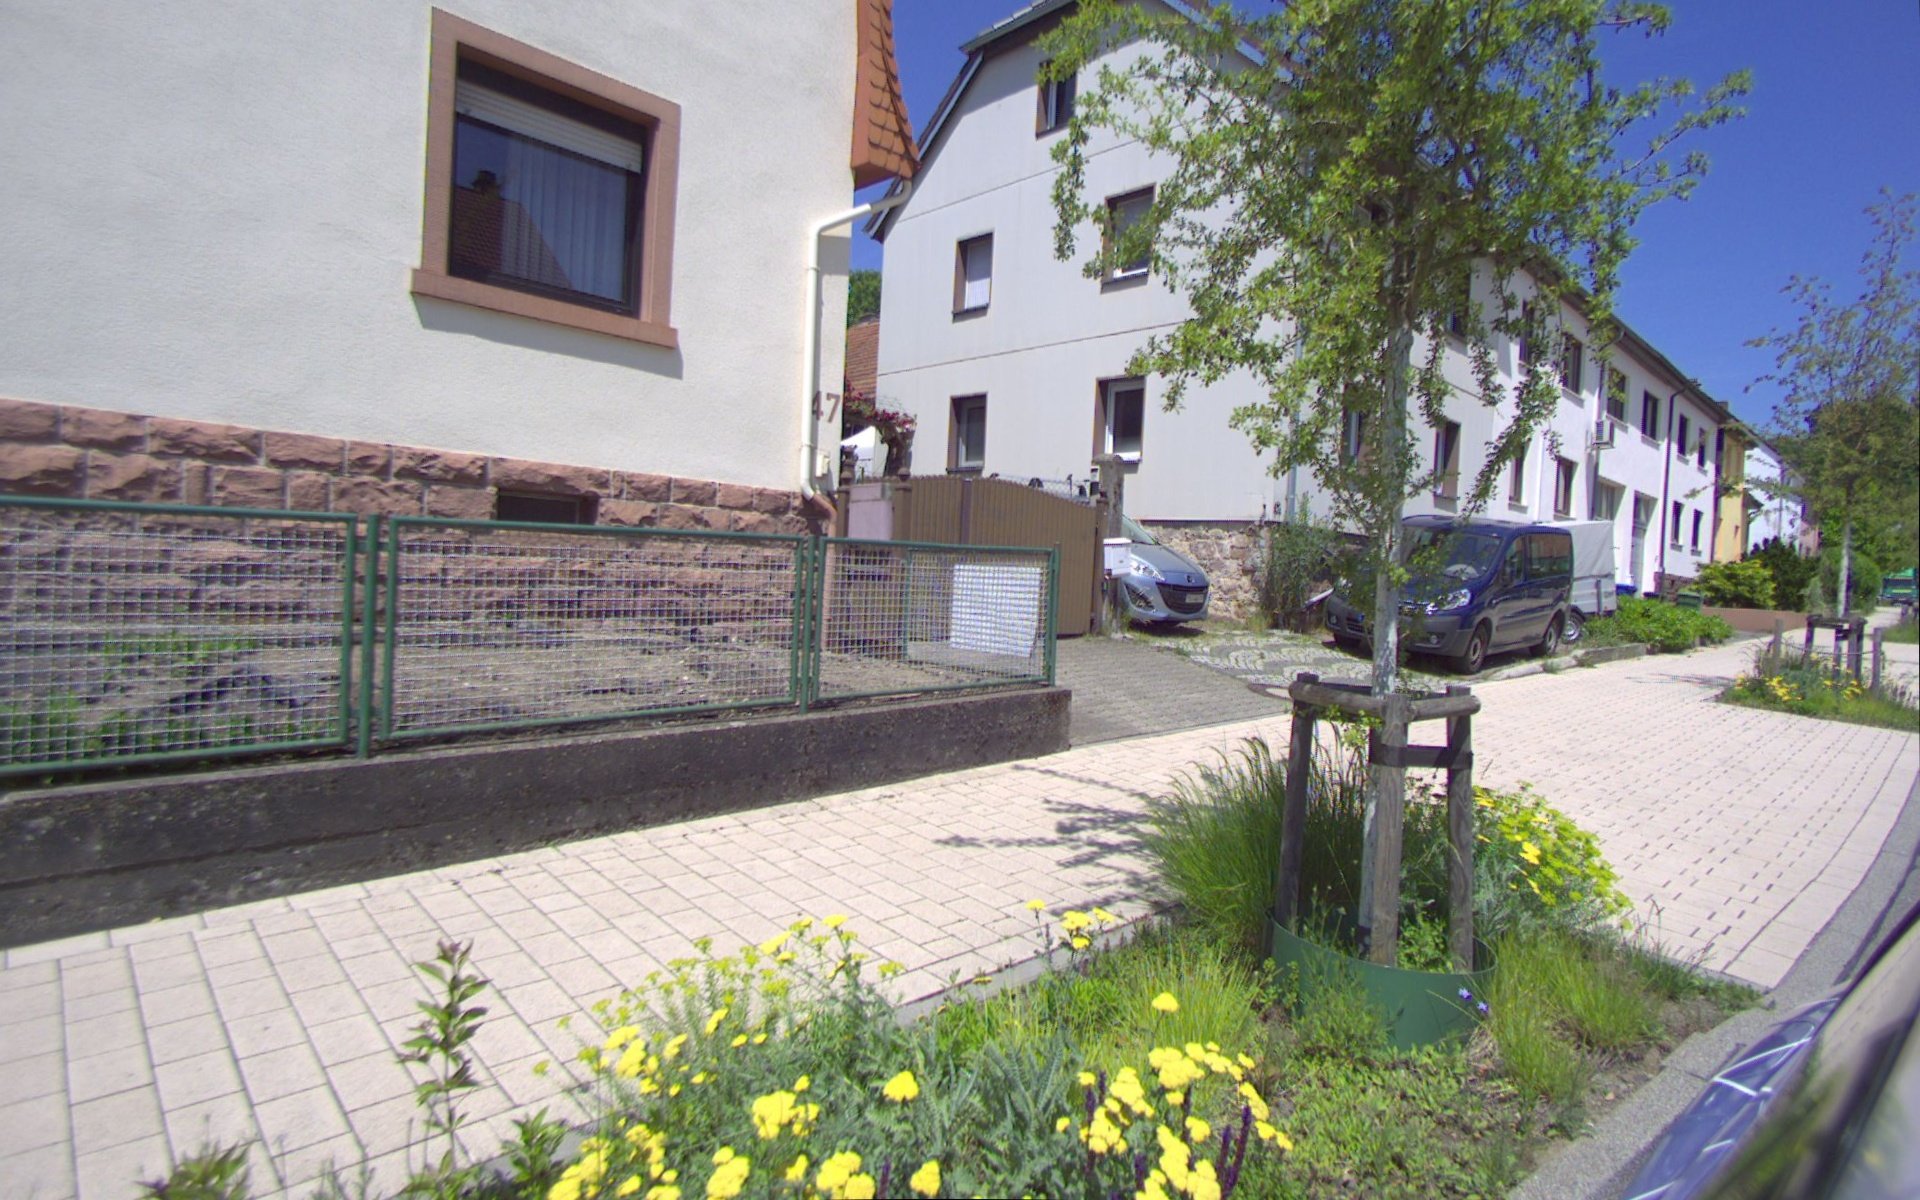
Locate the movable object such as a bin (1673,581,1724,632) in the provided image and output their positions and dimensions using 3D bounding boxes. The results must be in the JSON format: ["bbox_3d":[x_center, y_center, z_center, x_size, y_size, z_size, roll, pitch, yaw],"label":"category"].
[{"bbox_3d":[17.251,0.141,23.629,0.797,1.128,0.686,-1,6,-38],"label":"movable object such as a bin"}]

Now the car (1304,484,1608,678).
[{"bbox_3d":[6.895,-0.307,13.837,4.693,1.990,1.859,-1,13,-43],"label":"car"}]

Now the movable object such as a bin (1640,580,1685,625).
[{"bbox_3d":[16.697,0.047,24.048,0.788,0.997,0.560,0,6,-37],"label":"movable object such as a bin"}]

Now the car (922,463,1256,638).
[{"bbox_3d":[1.542,-0.751,13.297,1.859,1.785,3.998,0,8,-42],"label":"car"}]

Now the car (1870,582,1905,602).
[{"bbox_3d":[71.965,-0.635,78.558,1.668,1.393,3.945,4,3,38],"label":"car"}]

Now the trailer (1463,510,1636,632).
[{"bbox_3d":[10.266,-0.501,17.720,2.230,2.039,1.325,0,1,-1],"label":"trailer"}]

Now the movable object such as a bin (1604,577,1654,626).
[{"bbox_3d":[16.237,0.031,24.566,0.846,1.119,0.687,0,5,-37],"label":"movable object such as a bin"}]
